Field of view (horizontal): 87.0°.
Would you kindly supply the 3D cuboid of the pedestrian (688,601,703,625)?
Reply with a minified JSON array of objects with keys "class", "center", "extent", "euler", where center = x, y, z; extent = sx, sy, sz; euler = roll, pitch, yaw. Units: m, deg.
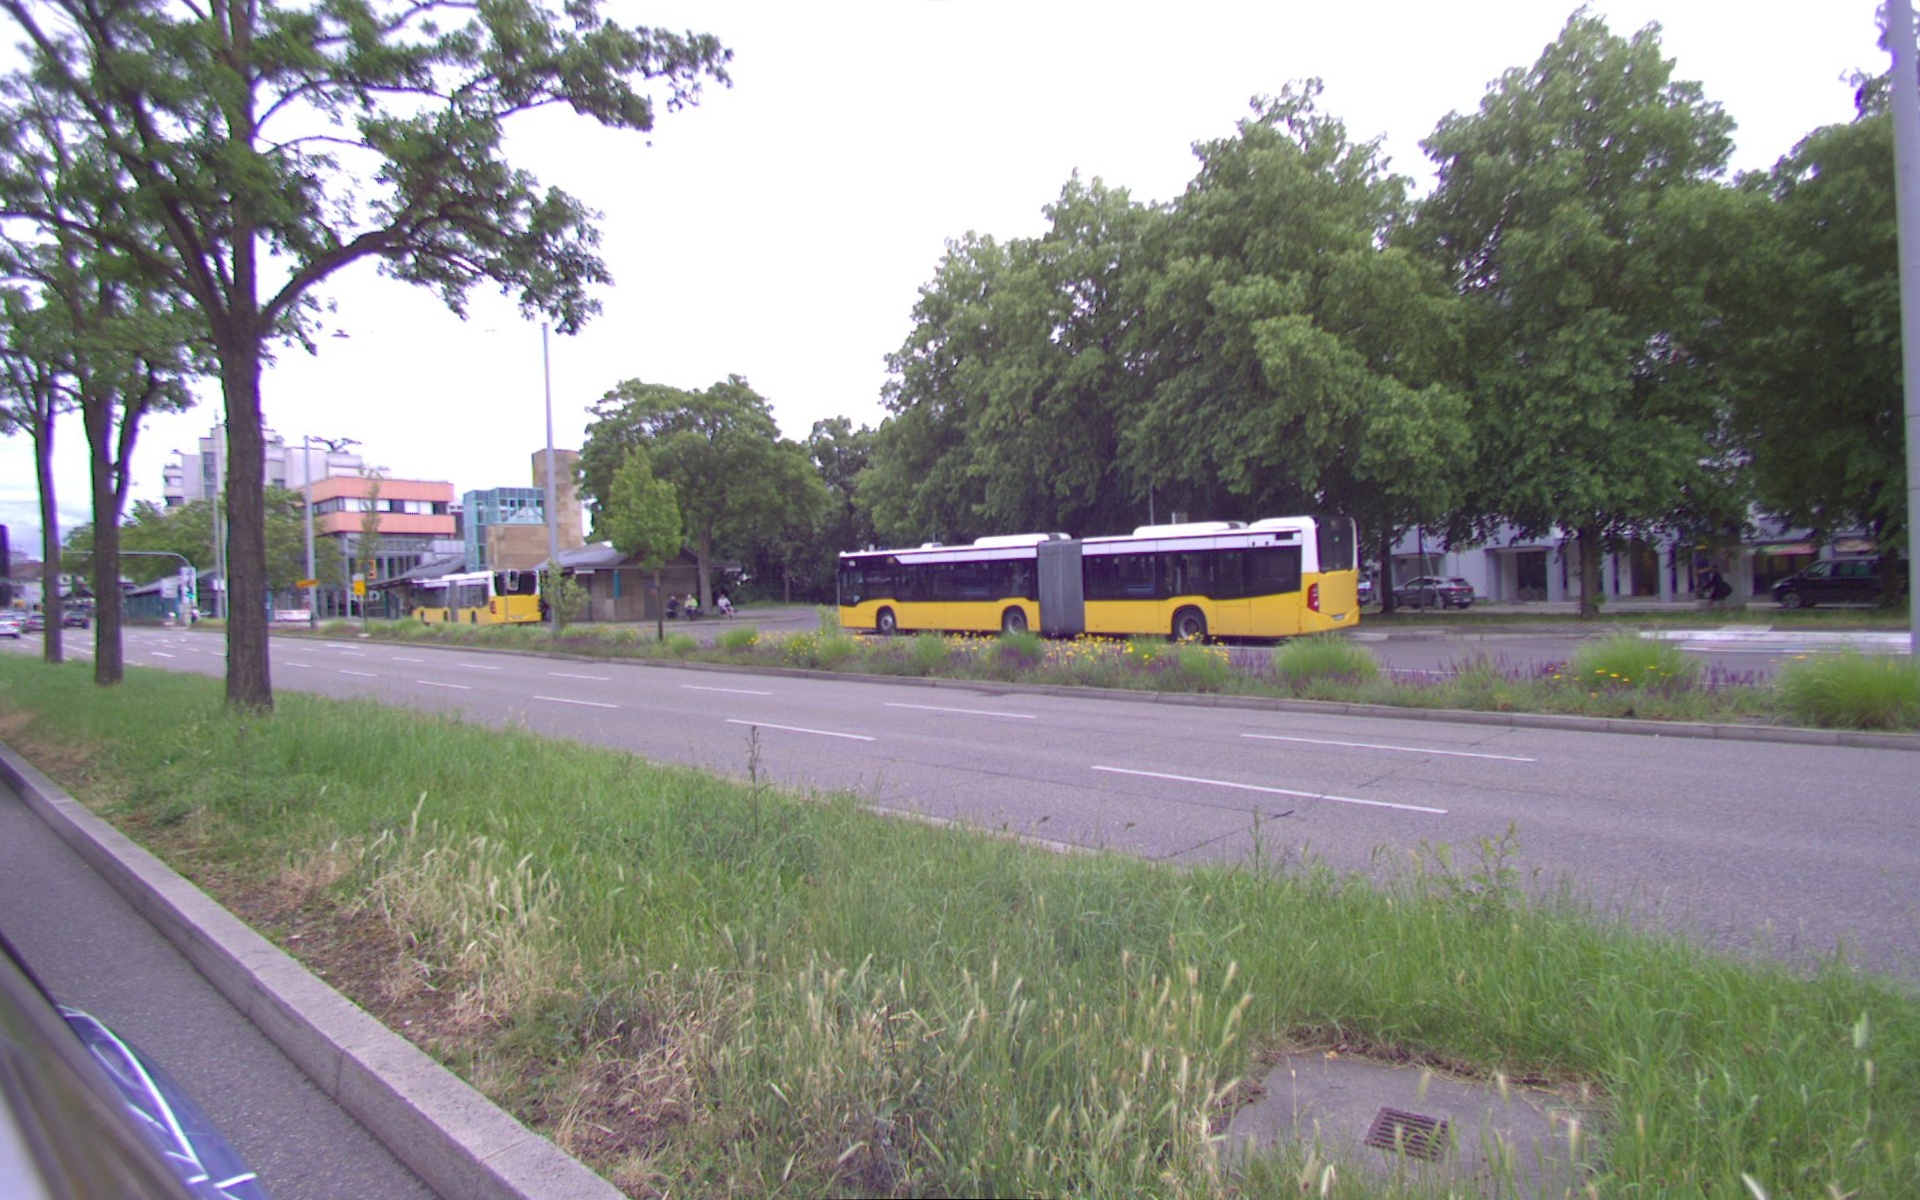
[{"class":"pedestrian","center":[-13.225,0.628,50.552],"extent":[0.589,1.171,0.745],"euler":[-1,0,-23]}]

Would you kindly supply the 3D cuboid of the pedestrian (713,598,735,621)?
[{"class":"pedestrian","center":[-11.911,0.474,51.107],"extent":[0.924,1.180,0.641],"euler":[-1,0,41]}]

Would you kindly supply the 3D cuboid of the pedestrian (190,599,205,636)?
[{"class":"pedestrian","center":[-58.232,1.321,77.293],"extent":[0.889,2.809,1.150],"euler":[-1,0,-36]}]

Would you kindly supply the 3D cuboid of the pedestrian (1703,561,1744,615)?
[{"class":"pedestrian","center":[22.718,-0.344,30.121],"extent":[0.904,1.569,0.761],"euler":[-2,0,41]}]

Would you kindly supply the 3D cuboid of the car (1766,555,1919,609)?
[{"class":"car","center":[33.138,-0.634,37.788],"extent":[1.758,1.861,4.429],"euler":[-1,0,-35]}]

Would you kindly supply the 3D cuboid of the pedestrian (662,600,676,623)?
[{"class":"pedestrian","center":[-14.963,0.583,51.983],"extent":[0.589,1.171,0.745],"euler":[-1,0,-23]}]

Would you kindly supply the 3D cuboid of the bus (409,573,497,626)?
[{"class":"bus","center":[-31.240,0.019,62.108],"extent":[2.846,3.025,9.191],"euler":[-1,0,-40]}]

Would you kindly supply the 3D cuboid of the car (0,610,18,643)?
[{"class":"car","center":[-59.979,1.670,63.015],"extent":[4.000,2.029,1.703],"euler":[-1,0,43]}]

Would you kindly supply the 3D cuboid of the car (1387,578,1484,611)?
[{"class":"car","center":[23.005,-0.244,49.103],"extent":[1.729,1.524,4.013],"euler":[-1,0,-28]}]

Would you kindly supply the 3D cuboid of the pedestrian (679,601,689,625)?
[{"class":"pedestrian","center":[-13.730,0.635,50.393],"extent":[0.361,1.175,0.900],"euler":[-1,0,-23]}]

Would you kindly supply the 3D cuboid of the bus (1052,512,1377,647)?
[{"class":"bus","center":[6.355,-0.423,26.465],"extent":[2.849,3.025,7.889],"euler":[-1,0,-44]}]

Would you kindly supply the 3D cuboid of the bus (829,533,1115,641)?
[{"class":"bus","center":[-0.001,-0.306,33.072],"extent":[2.848,3.025,10.401],"euler":[-1,0,-44]}]

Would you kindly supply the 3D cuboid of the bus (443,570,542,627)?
[{"class":"bus","center":[-25.668,-0.028,55.260],"extent":[2.845,2.830,9.194],"euler":[-1,0,-38]}]
